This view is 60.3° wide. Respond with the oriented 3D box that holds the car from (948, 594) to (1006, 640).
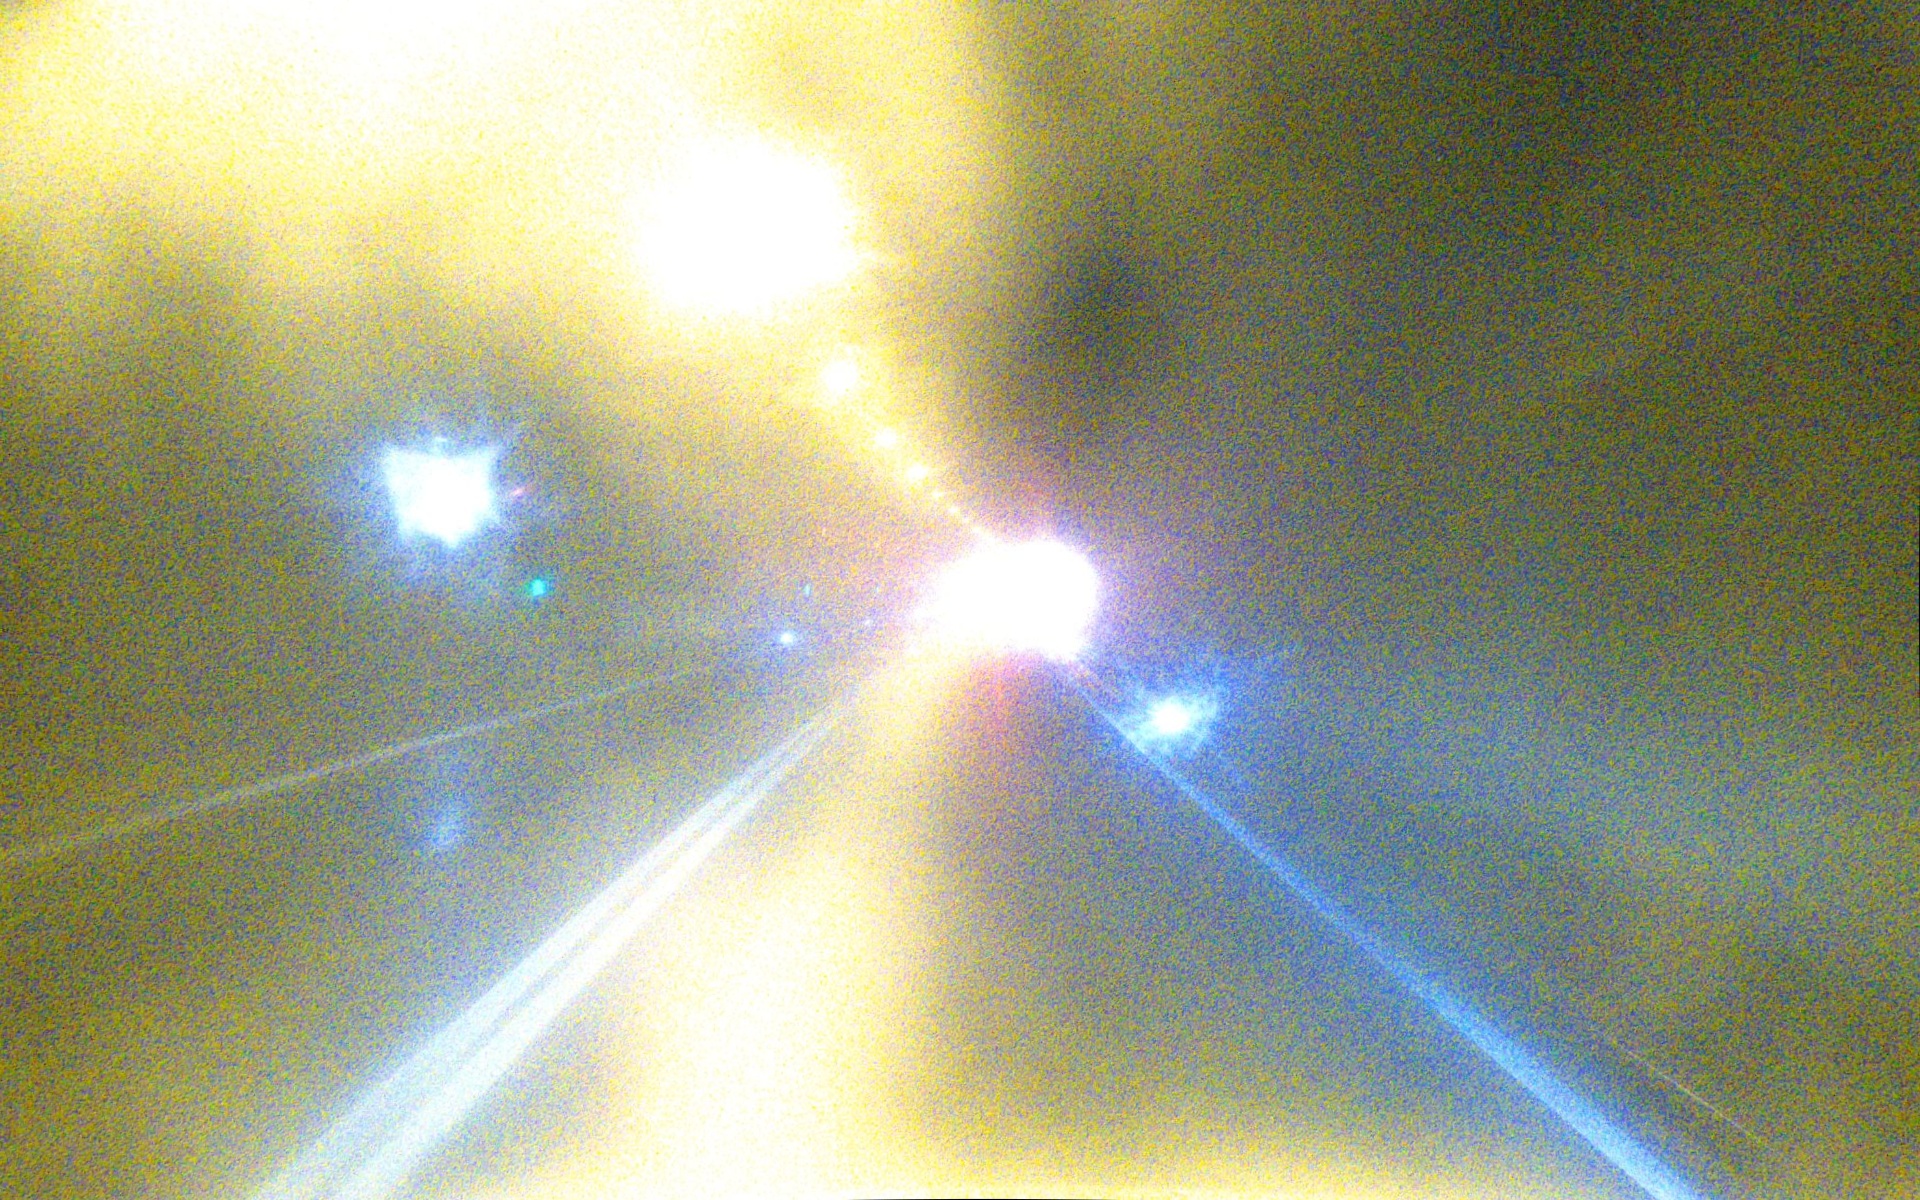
[{"bbox_3d":[0.676,0.628,63.418,2.046,1.691,4.001,0,0,3],"label":"car"}]
